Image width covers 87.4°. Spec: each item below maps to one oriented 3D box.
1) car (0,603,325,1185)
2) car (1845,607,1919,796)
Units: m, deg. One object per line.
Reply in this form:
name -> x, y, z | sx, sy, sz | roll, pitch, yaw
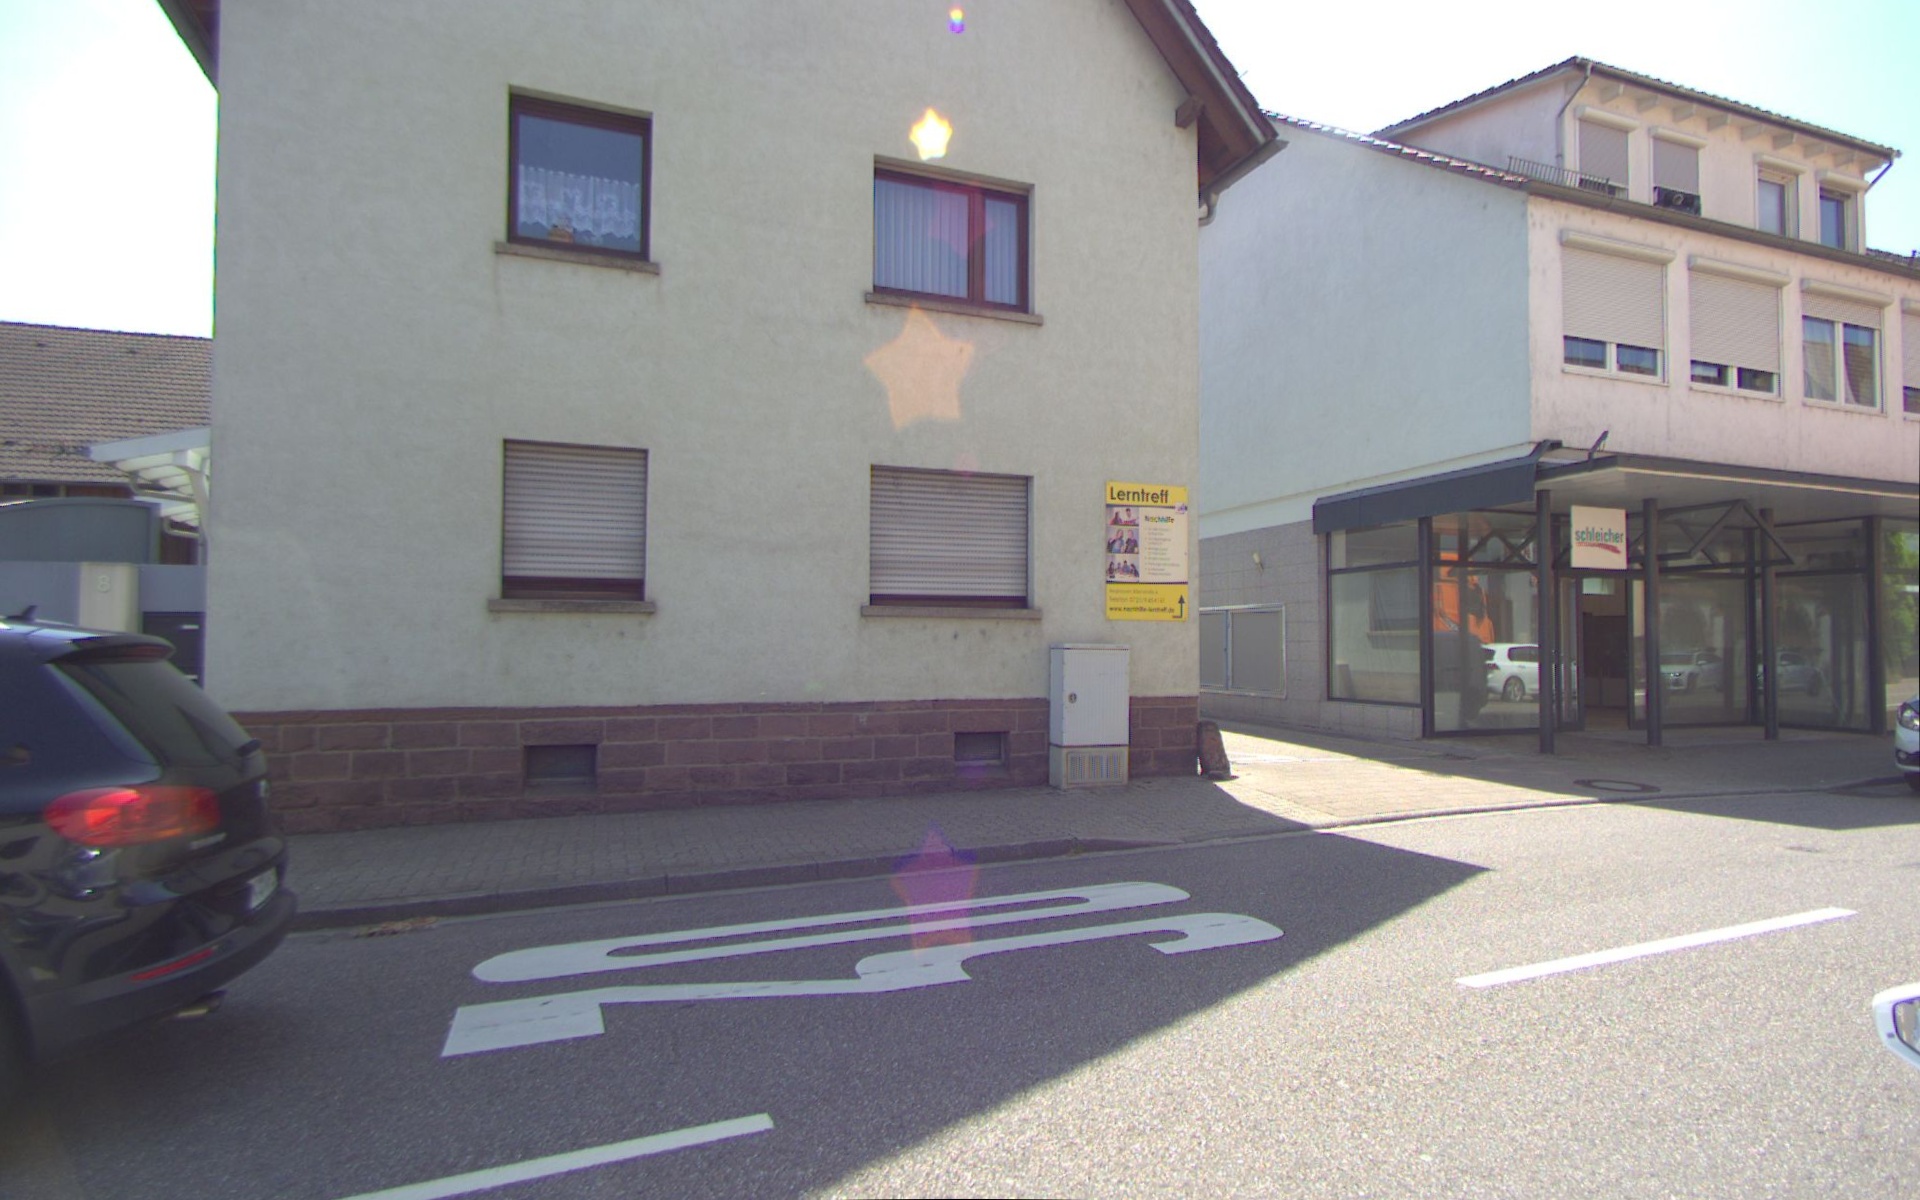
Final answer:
car -> -4.376, 0.822, 3.002 | 3.946, 1.632, 1.743 | 1, -3, -25
car -> 11.662, 1.037, 10.480 | 4.533, 1.853, 1.780 | 1, -4, -22
